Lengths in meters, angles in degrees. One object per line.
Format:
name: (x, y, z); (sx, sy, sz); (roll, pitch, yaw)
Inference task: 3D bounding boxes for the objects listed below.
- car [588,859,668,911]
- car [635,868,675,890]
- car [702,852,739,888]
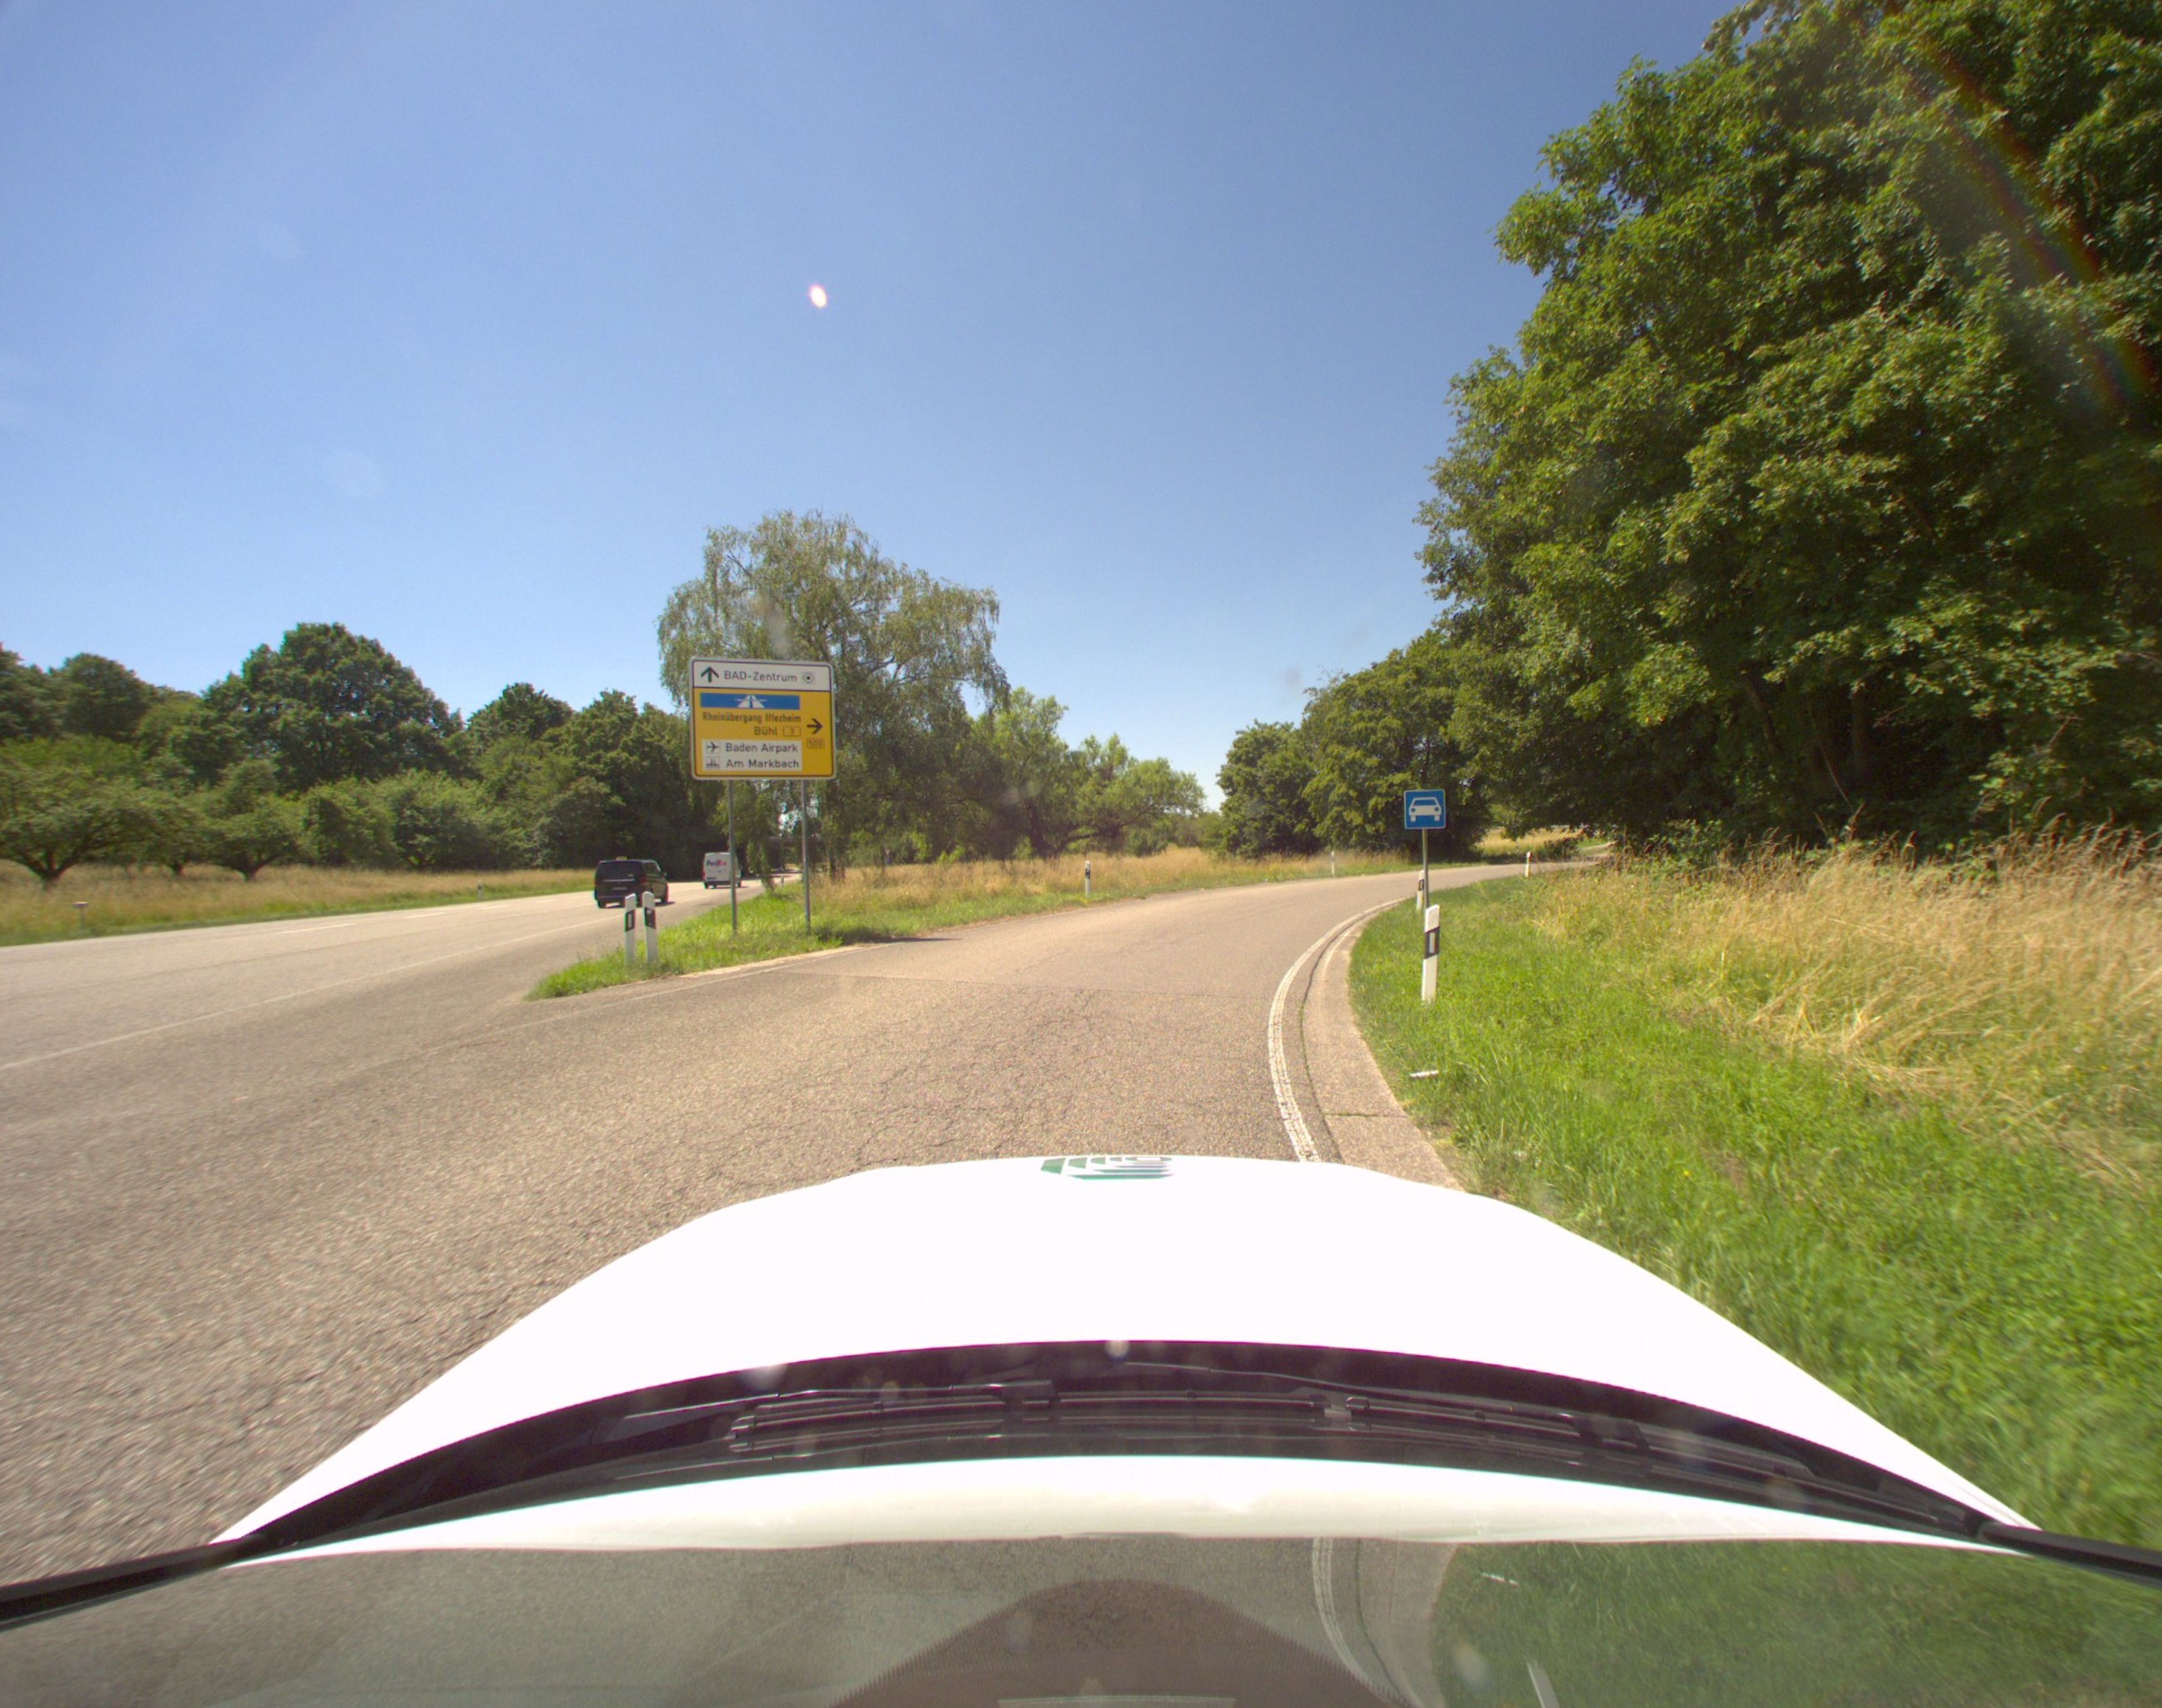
car: (-18.191, 1.192, 32.878); (1.999, 1.948, 4.065); (-1, 0, -17)
car: (-34.389, 1.961, 65.861); (2.122, 1.635, 4.065); (-1, 0, -17)
car: (-26.424, 1.139, 59.849); (2.124, 2.501, 4.063); (0, 0, -19)
